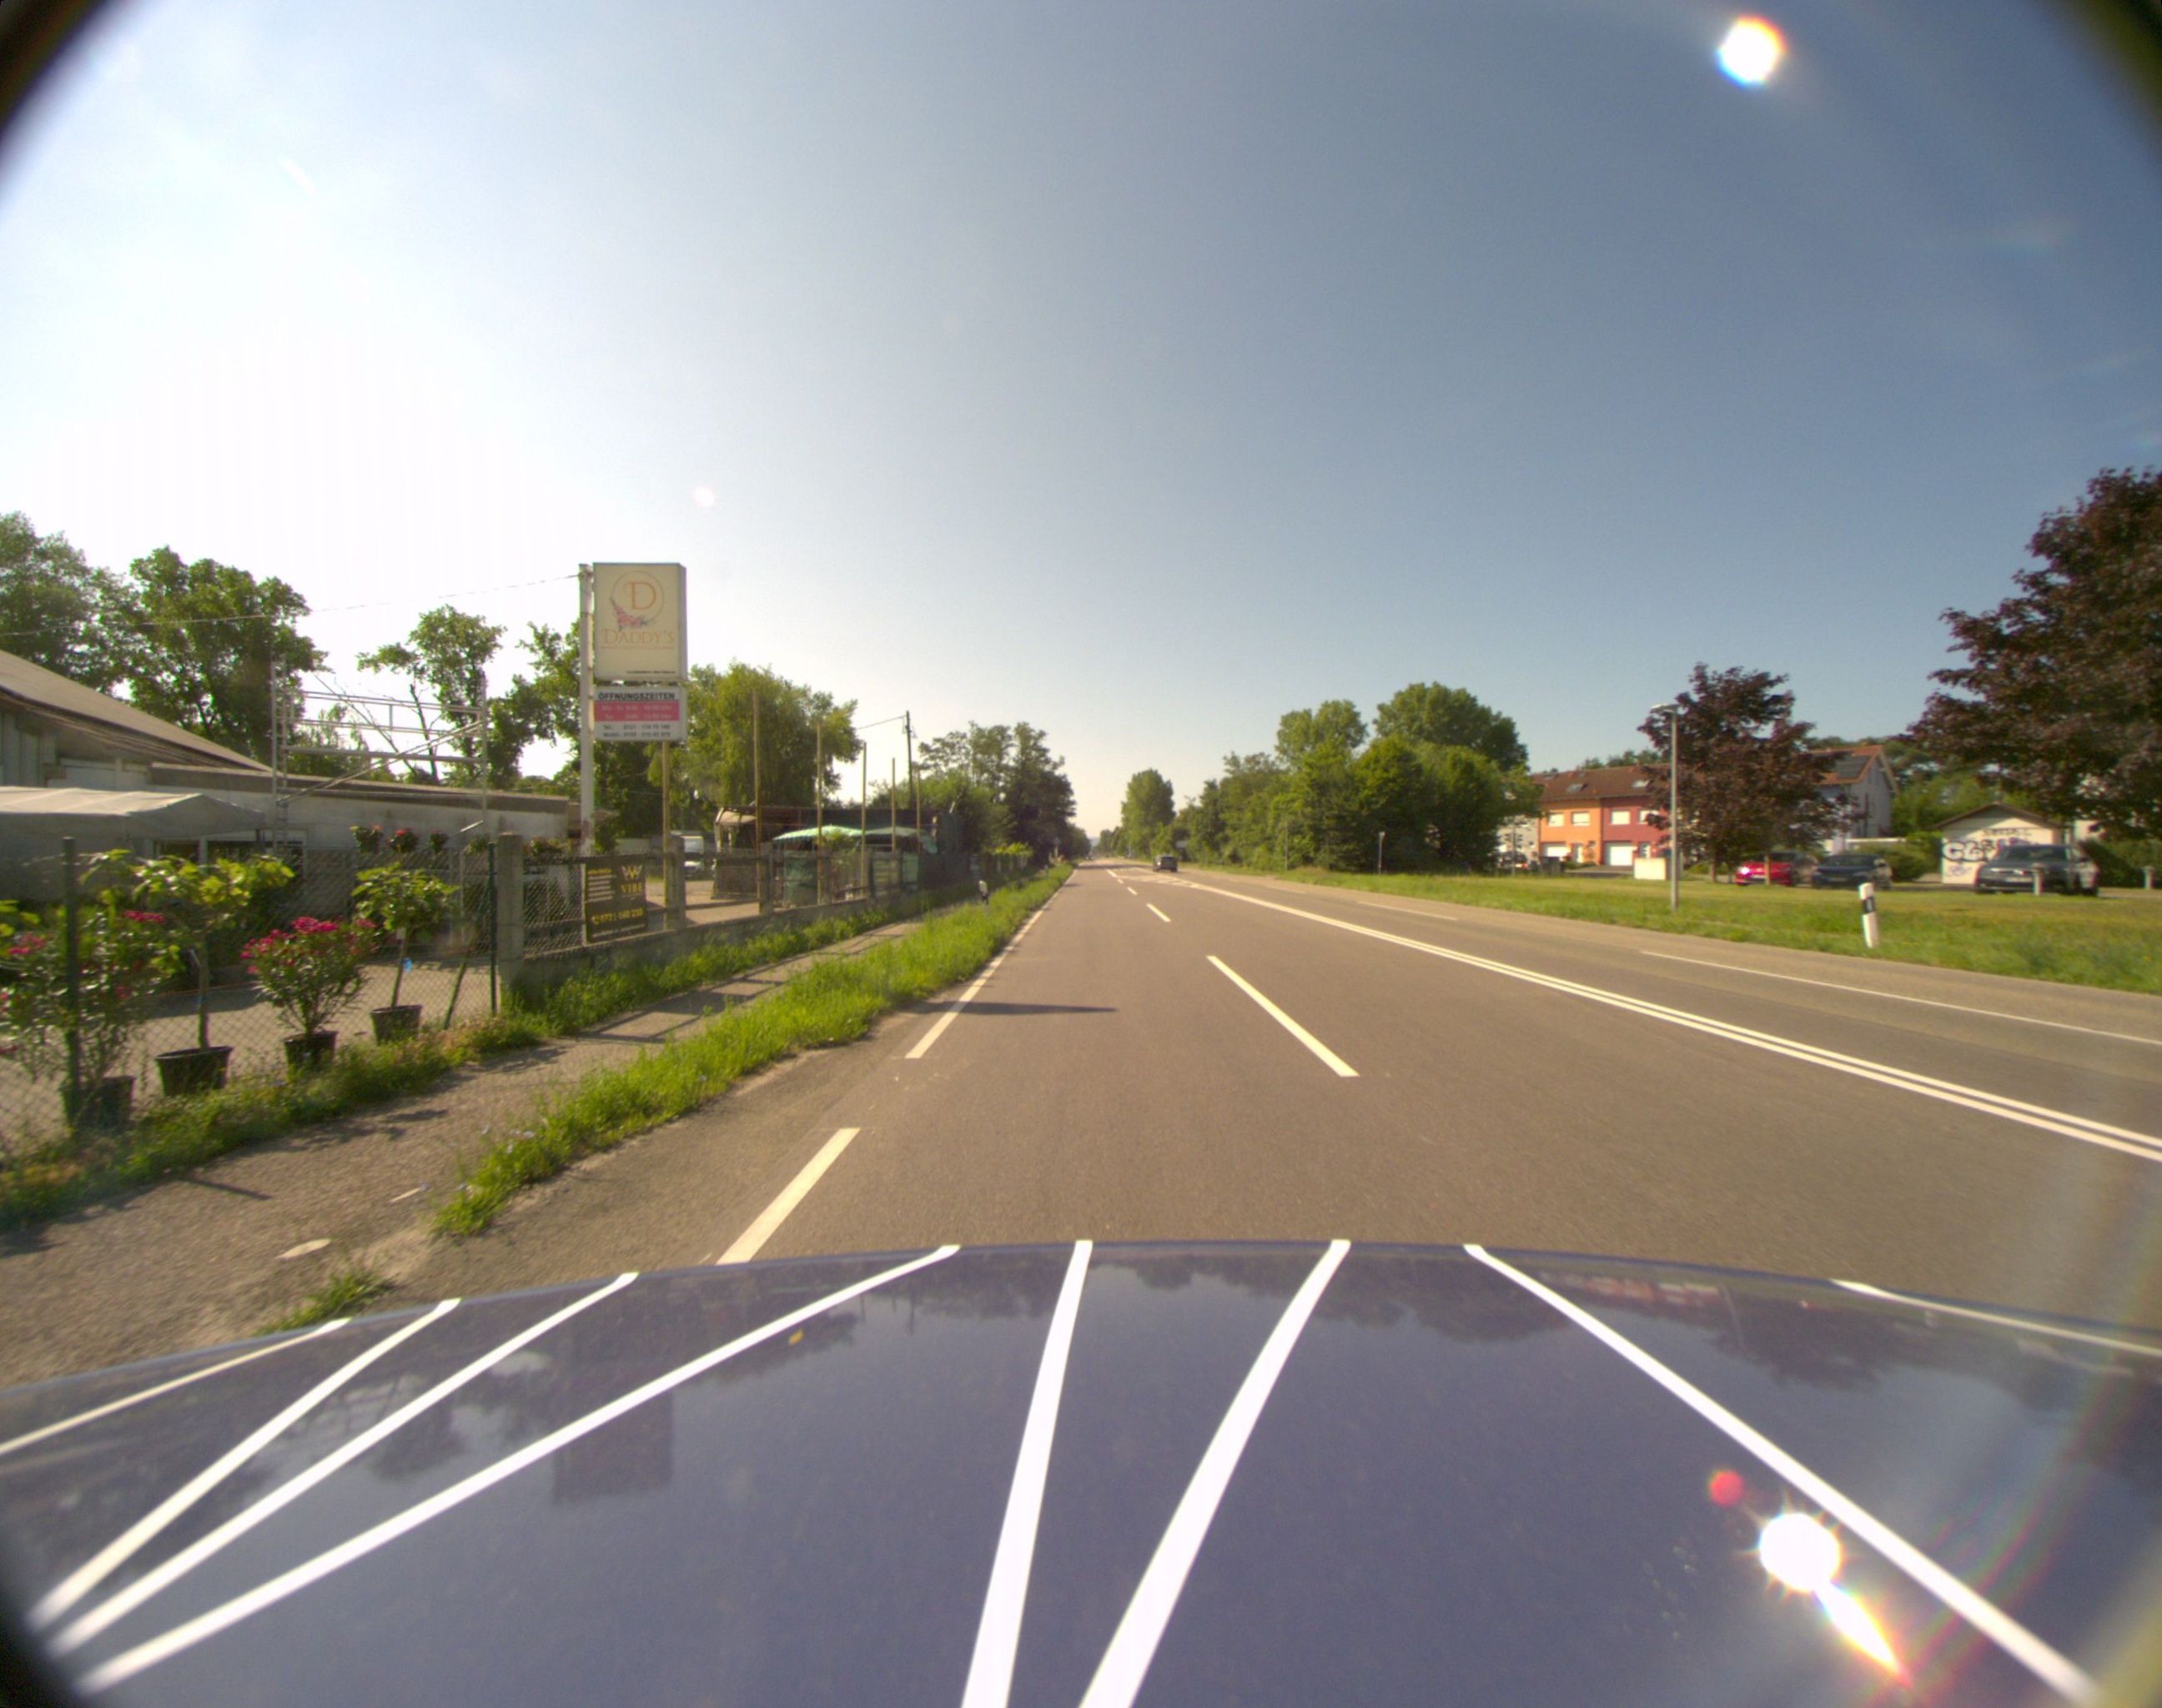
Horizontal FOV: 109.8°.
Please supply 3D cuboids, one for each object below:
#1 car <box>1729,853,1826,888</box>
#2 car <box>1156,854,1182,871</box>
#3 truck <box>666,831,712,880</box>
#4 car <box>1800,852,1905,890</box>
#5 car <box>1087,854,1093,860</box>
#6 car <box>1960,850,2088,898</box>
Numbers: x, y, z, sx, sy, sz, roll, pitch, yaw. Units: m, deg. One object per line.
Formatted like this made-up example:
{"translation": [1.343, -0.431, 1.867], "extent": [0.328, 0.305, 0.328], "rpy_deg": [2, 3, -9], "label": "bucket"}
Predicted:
{"translation": [29.080, 0.680, 31.700], "extent": [4.006, 1.362, 1.818], "rpy_deg": [0, -1, -29], "label": "car"}
{"translation": [7.396, 0.716, 64.215], "extent": [1.768, 1.403, 4.174], "rpy_deg": [0, -1, 1], "label": "car"}
{"translation": [-29.930, 0.129, 58.242], "extent": [2.757, 3.444, 7.734], "rpy_deg": [-3, 1, -26], "label": "truck"}
{"translation": [29.282, 0.631, 28.832], "extent": [4.006, 1.362, 1.818], "rpy_deg": [0, -1, -29], "label": "car"}
{"translation": [2.517, 0.800, 208.328], "extent": [1.768, 1.403, 4.001], "rpy_deg": [0, -1, 1], "label": "car"}
{"translation": [28.879, 0.599, 23.255], "extent": [4.006, 1.362, 1.818], "rpy_deg": [0, -1, -29], "label": "car"}
